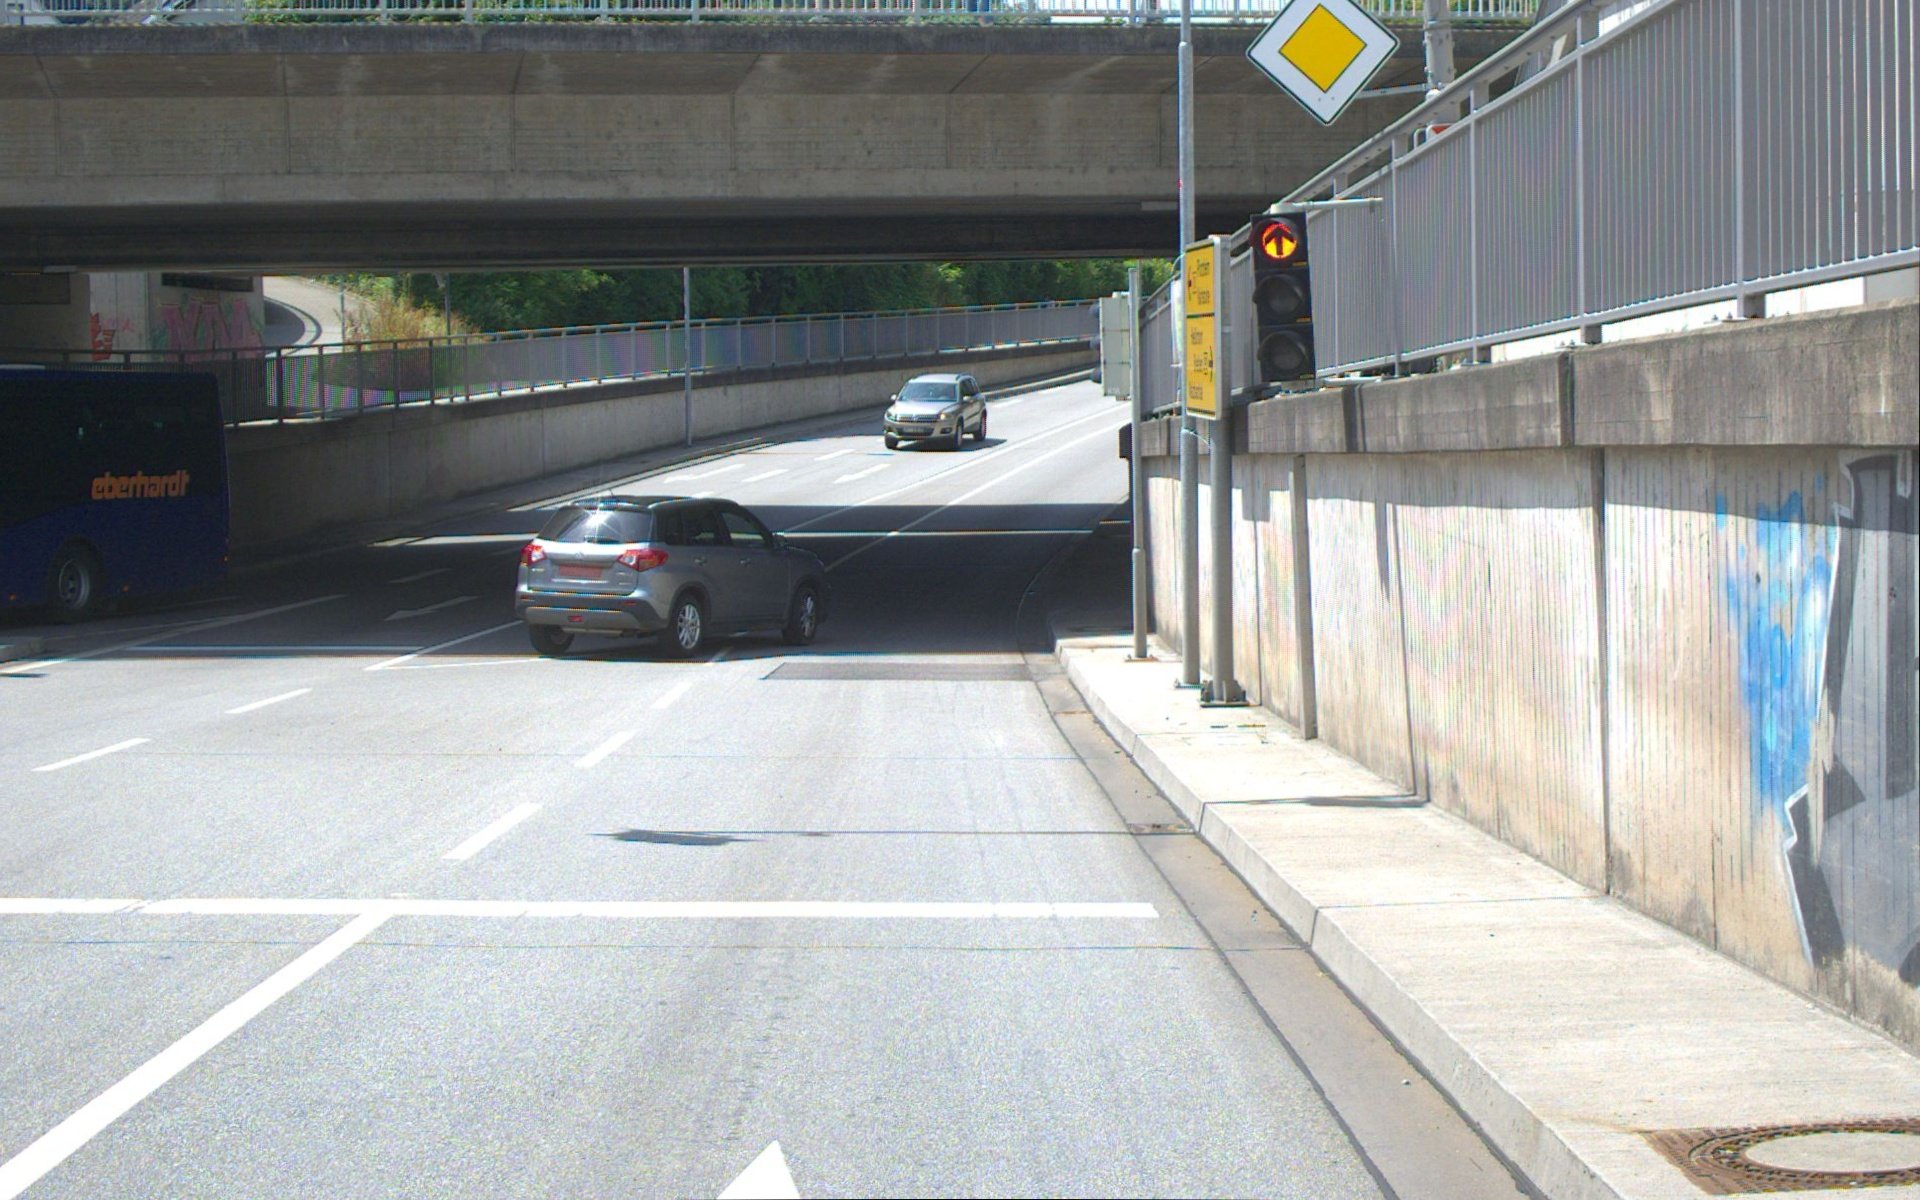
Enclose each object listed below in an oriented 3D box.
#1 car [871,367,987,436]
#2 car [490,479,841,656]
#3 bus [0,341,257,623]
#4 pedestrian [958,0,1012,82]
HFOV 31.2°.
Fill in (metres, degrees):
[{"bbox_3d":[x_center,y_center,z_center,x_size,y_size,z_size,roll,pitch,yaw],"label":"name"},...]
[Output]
[{"bbox_3d":[-0.709,-4.774,82.556,1.994,1.621,3.999,1,4,12],"label":"car"},{"bbox_3d":[-2.968,-0.395,35.465,1.807,1.612,3.995,2,4,26],"label":"car"},{"bbox_3d":[-12.308,-1.300,38.147,2.584,3.161,12.365,1,4,21],"label":"bus"},{"bbox_3d":[0.273,-6.989,39.237,0.539,2.074,0.535,-1,1,-7],"label":"pedestrian"}]
